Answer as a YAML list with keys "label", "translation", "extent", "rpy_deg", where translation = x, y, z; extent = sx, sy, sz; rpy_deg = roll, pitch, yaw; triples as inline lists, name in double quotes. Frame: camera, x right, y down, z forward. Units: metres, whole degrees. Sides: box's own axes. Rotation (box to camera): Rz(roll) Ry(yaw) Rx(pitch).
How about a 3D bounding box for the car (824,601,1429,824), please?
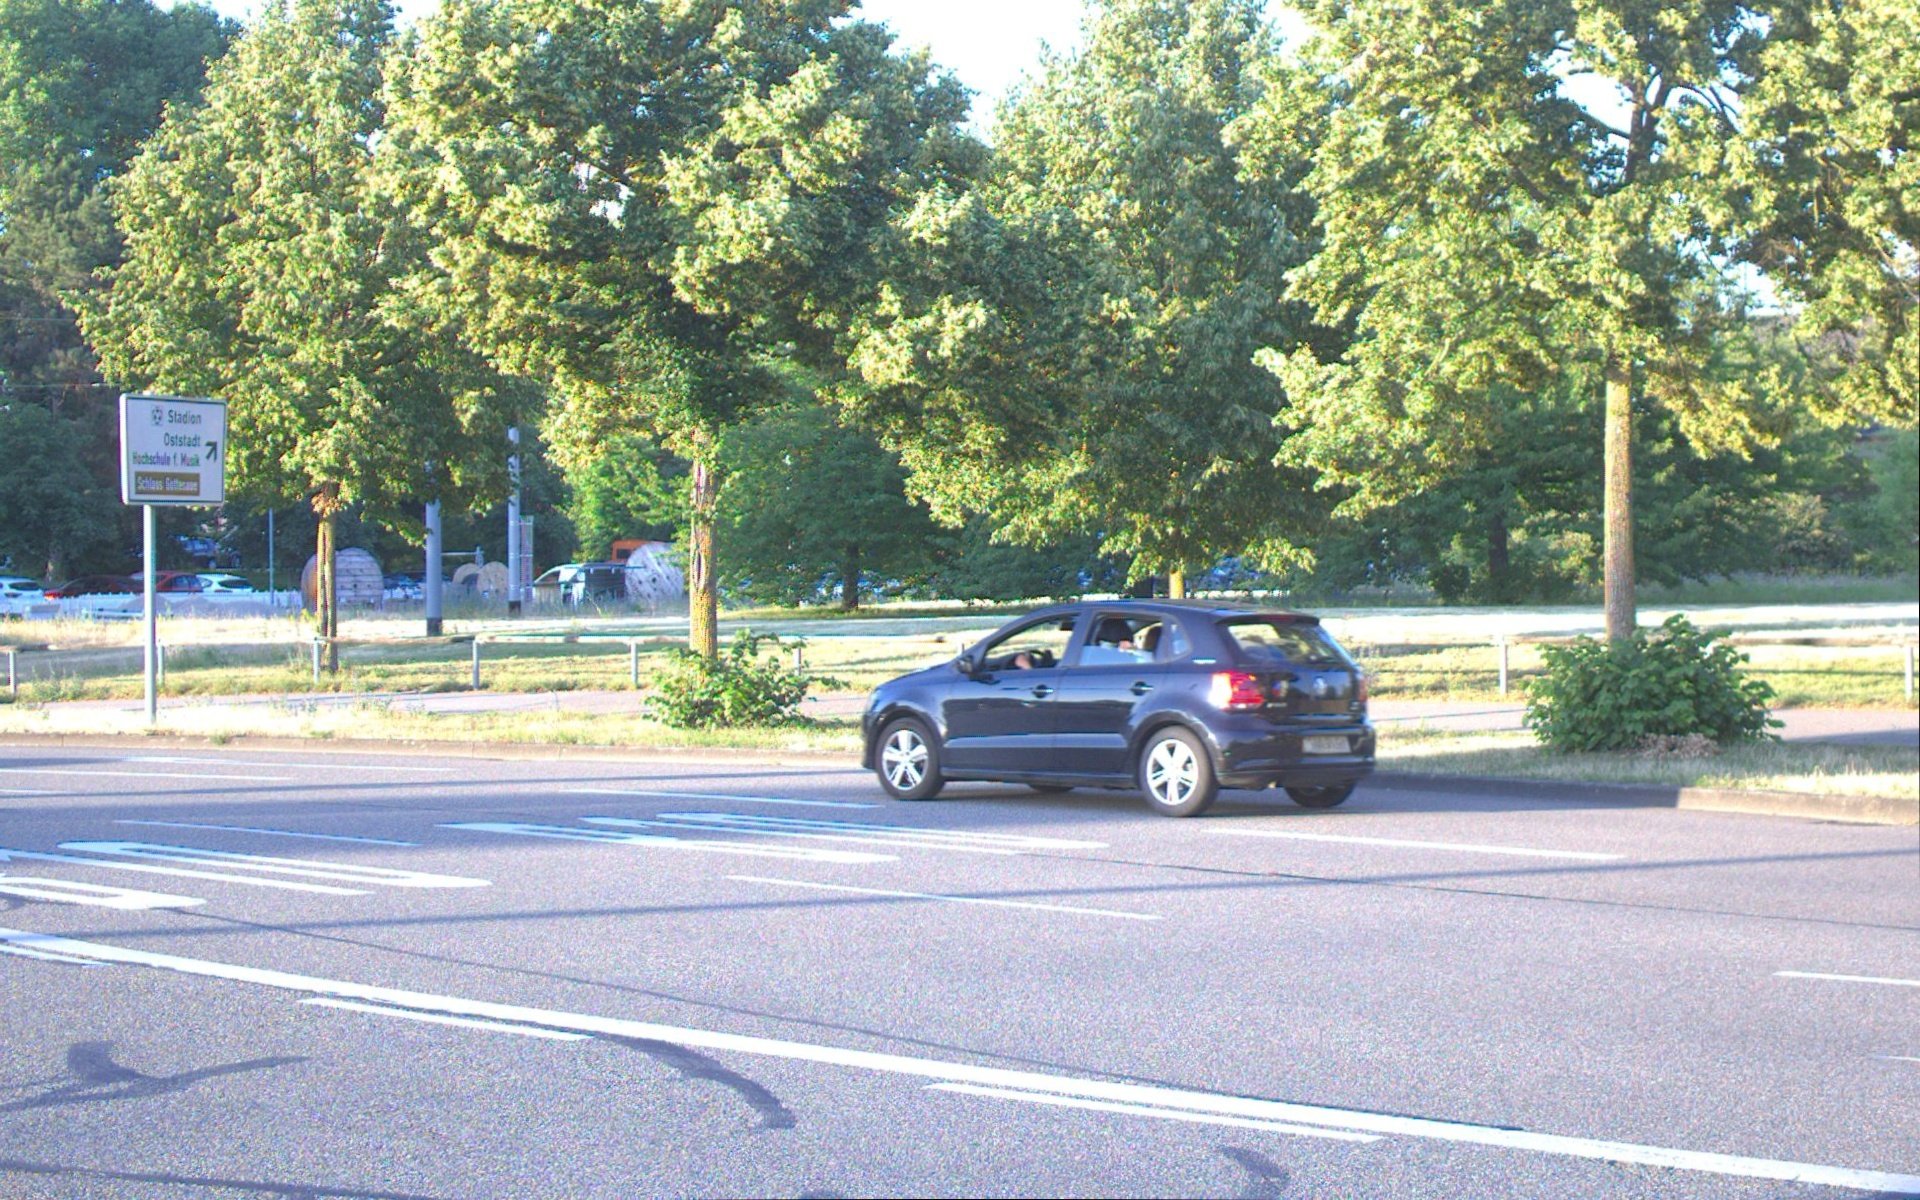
- label: "car"
  translation: [1.078, 0.706, 23.578]
  extent: [3.997, 1.349, 1.690]
  rpy_deg: [1, 1, 43]

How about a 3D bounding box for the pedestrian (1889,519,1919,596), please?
- label: "pedestrian"
  translation: [20.272, -0.896, 72.665]
  extent: [1.069, 1.612, 0.910]
  rpy_deg: [0, 1, 2]

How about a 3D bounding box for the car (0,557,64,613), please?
- label: "car"
  translation: [-35.246, -0.546, 125.807]
  extent: [4.582, 2.007, 2.001]
  rpy_deg: [-1, 1, -9]

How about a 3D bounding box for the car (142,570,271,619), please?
- label: "car"
  translation: [-25.383, -0.201, 115.825]
  extent: [3.994, 1.598, 1.996]
  rpy_deg: [0, 1, 33]

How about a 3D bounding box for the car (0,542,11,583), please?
- label: "car"
  translation: [-42.426, -1.572, 145.364]
  extent: [3.988, 1.700, 2.000]
  rpy_deg: [0, 1, 7]

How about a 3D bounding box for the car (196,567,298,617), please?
- label: "car"
  translation: [-26.832, -0.316, 129.304]
  extent: [1.994, 1.746, 4.597]
  rpy_deg: [-1, 2, -37]

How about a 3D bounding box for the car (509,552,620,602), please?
- label: "car"
  translation: [-13.241, -0.771, 114.884]
  extent: [1.734, 1.612, 3.998]
  rpy_deg: [-1, 1, -41]

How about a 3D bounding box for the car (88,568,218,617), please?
- label: "car"
  translation: [-26.787, -0.257, 114.095]
  extent: [3.994, 1.598, 1.996]
  rpy_deg: [0, 1, 33]

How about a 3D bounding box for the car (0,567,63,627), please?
- label: "car"
  translation: [-33.160, -0.089, 117.674]
  extent: [4.582, 2.007, 2.001]
  rpy_deg: [-1, 1, -9]
